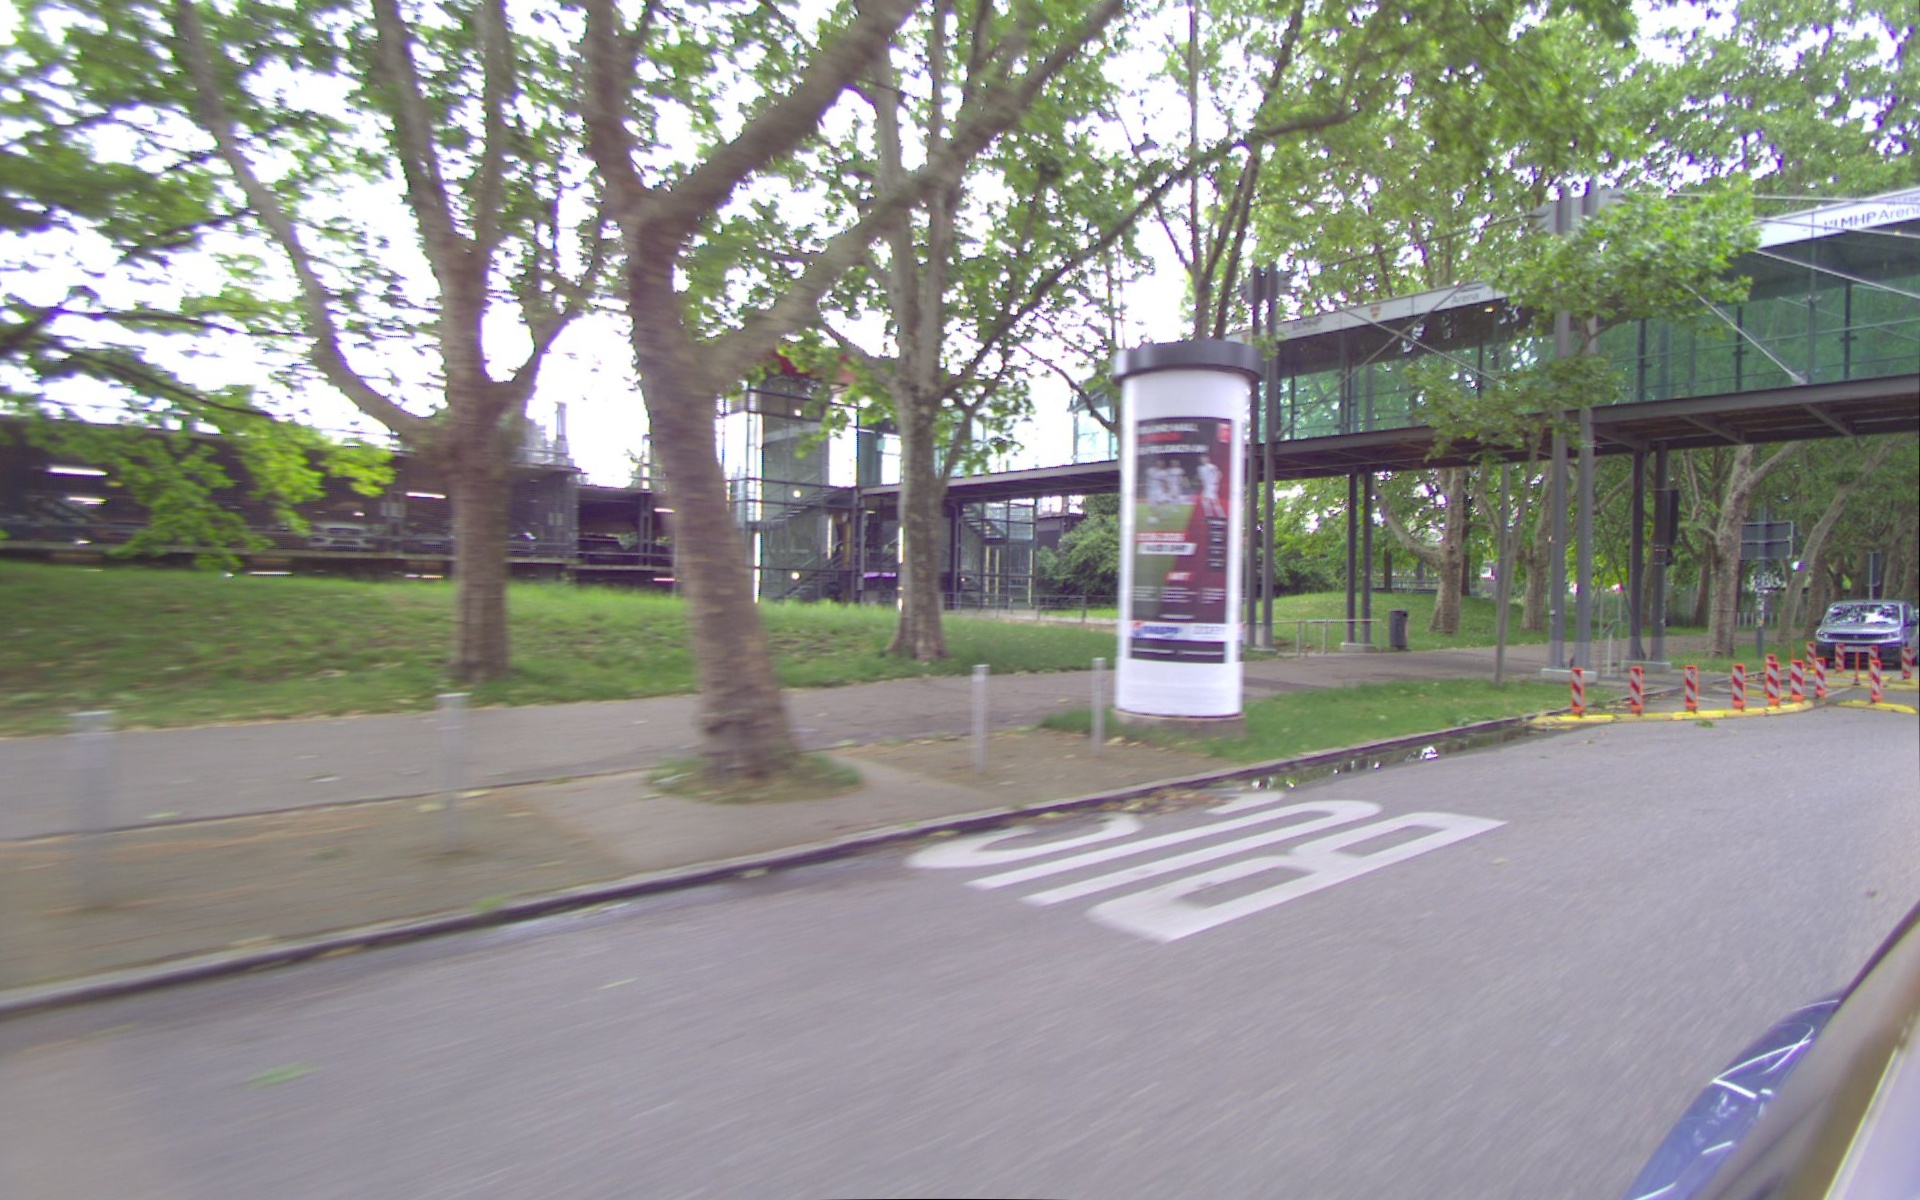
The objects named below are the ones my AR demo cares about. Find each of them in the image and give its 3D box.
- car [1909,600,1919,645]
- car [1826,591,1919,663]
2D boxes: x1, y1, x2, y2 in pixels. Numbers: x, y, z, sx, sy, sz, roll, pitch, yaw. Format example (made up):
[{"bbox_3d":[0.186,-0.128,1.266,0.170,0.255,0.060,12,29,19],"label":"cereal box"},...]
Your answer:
[{"bbox_3d":[36.448,0.827,37.219,4.421,1.590,1.919,0,1,-43],"label":"car"},{"bbox_3d":[24.573,0.651,26.953,4.421,1.718,1.754,0,1,-43],"label":"car"}]
